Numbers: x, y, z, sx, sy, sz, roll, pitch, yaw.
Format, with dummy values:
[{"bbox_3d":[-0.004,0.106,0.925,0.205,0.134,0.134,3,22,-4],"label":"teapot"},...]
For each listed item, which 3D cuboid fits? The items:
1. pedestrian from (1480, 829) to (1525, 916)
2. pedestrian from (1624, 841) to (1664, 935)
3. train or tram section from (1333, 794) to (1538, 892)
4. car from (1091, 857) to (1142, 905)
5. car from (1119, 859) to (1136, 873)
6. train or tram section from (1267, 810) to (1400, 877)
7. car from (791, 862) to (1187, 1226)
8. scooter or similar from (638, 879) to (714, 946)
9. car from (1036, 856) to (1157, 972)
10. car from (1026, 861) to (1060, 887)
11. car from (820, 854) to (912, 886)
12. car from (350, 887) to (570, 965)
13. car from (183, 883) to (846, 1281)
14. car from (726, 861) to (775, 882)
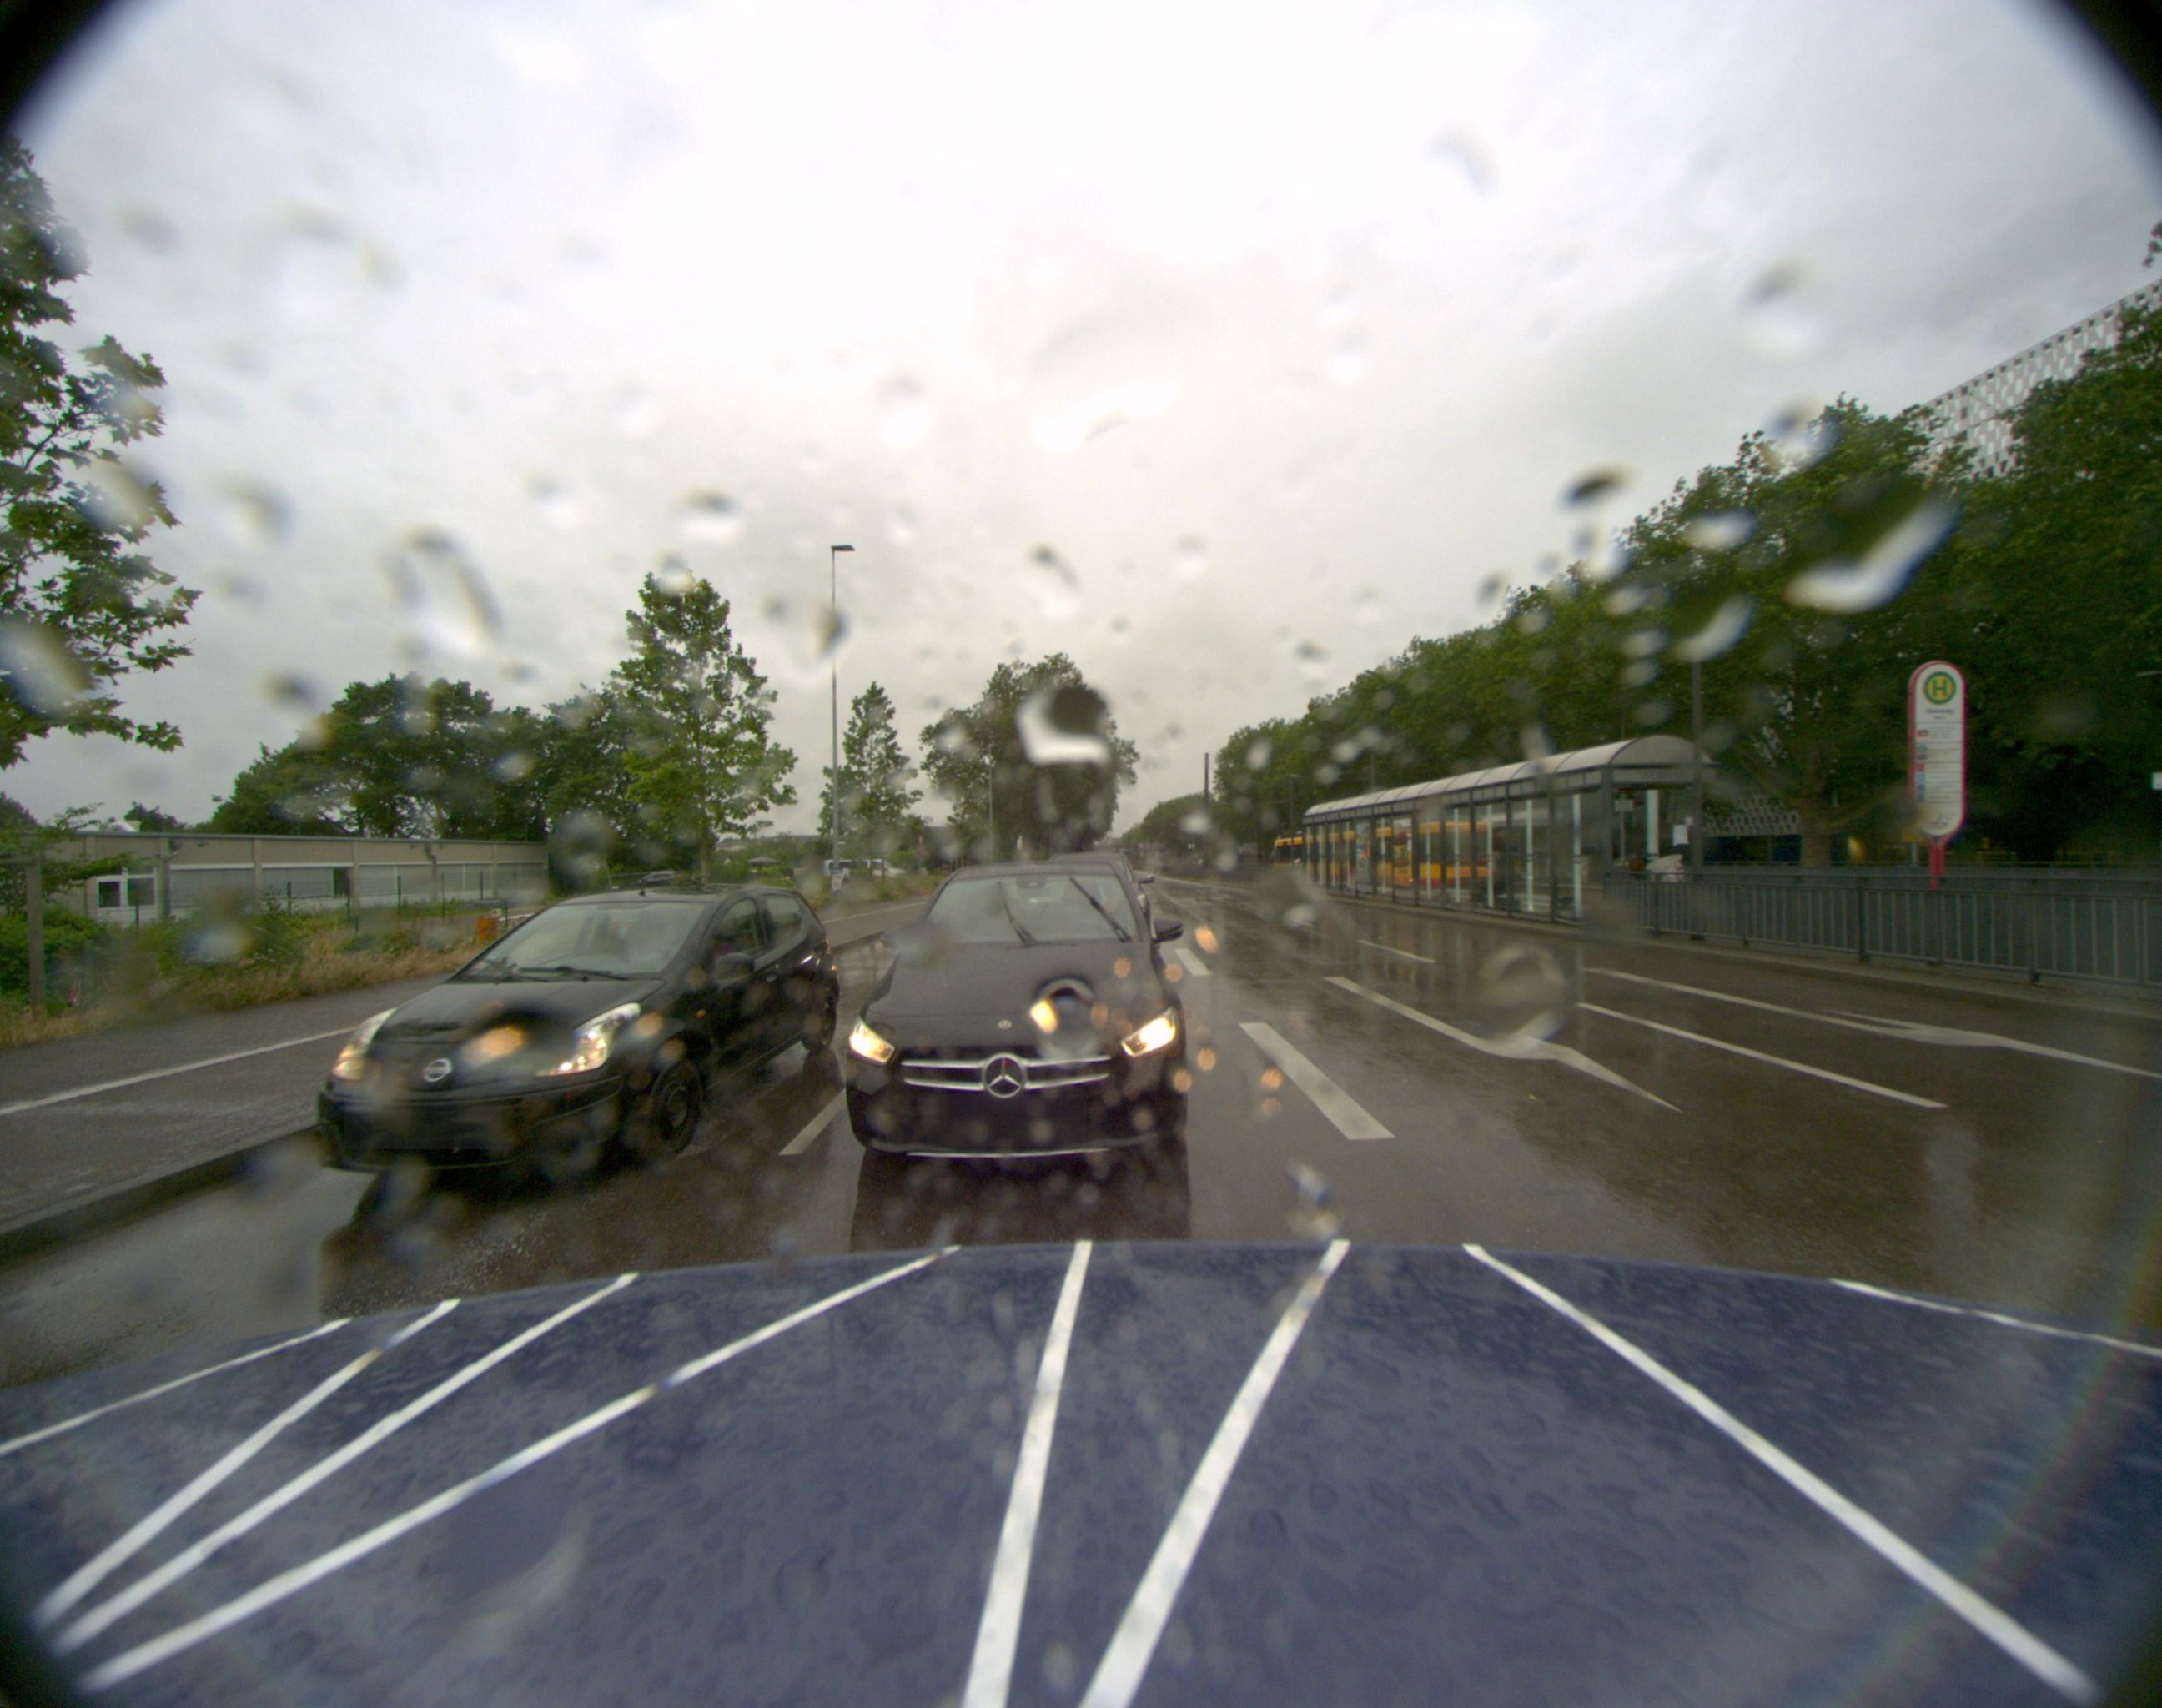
[{"bbox_3d":[9.280,0.403,16.746,0.655,1.860,0.773,-2,1,17],"label":"pedestrian"},{"bbox_3d":[9.179,0.547,12.394,0.321,1.485,0.415,-3,2,6],"label":"pedestrian"},{"bbox_3d":[16.616,-0.492,37.494,3.751,3.817,13.253,-3,0,0],"label":"train or tram section"},{"bbox_3d":[1.236,0.939,27.731,1.557,1.541,3.717,-3,0,0],"label":"car"},{"bbox_3d":[4.691,1.168,77.038,1.557,1.301,3.717,-3,0,1],"label":"car"},{"bbox_3d":[16.573,-0.663,51.920,3.751,3.777,15.569,-3,0,0],"label":"train or tram section"},{"bbox_3d":[-0.206,0.881,5.480,1.758,1.572,4.171,-2,0,6],"label":"car"},{"bbox_3d":[-8.196,1.155,15.476,0.367,1.192,1.913,-2,1,4],"label":"scooter or similar"},{"bbox_3d":[0.281,0.862,12.724,1.689,1.611,4.000,-1,0,2],"label":"car"},{"bbox_3d":[-2.059,1.069,42.025,1.617,1.301,3.717,-3,0,1],"label":"car"},{"bbox_3d":[-13.553,0.988,48.188,5.174,1.715,2.006,-3,1,-1],"label":"car"},{"bbox_3d":[-12.034,1.375,14.816,3.243,1.281,1.345,-3,1,6],"label":"car"},{"bbox_3d":[-2.928,1.024,4.986,1.557,1.500,3.618,-2,0,1],"label":"car"},{"bbox_3d":[-28.240,1.472,65.011,3.552,1.574,1.345,-3,1,6],"label":"car"}]
